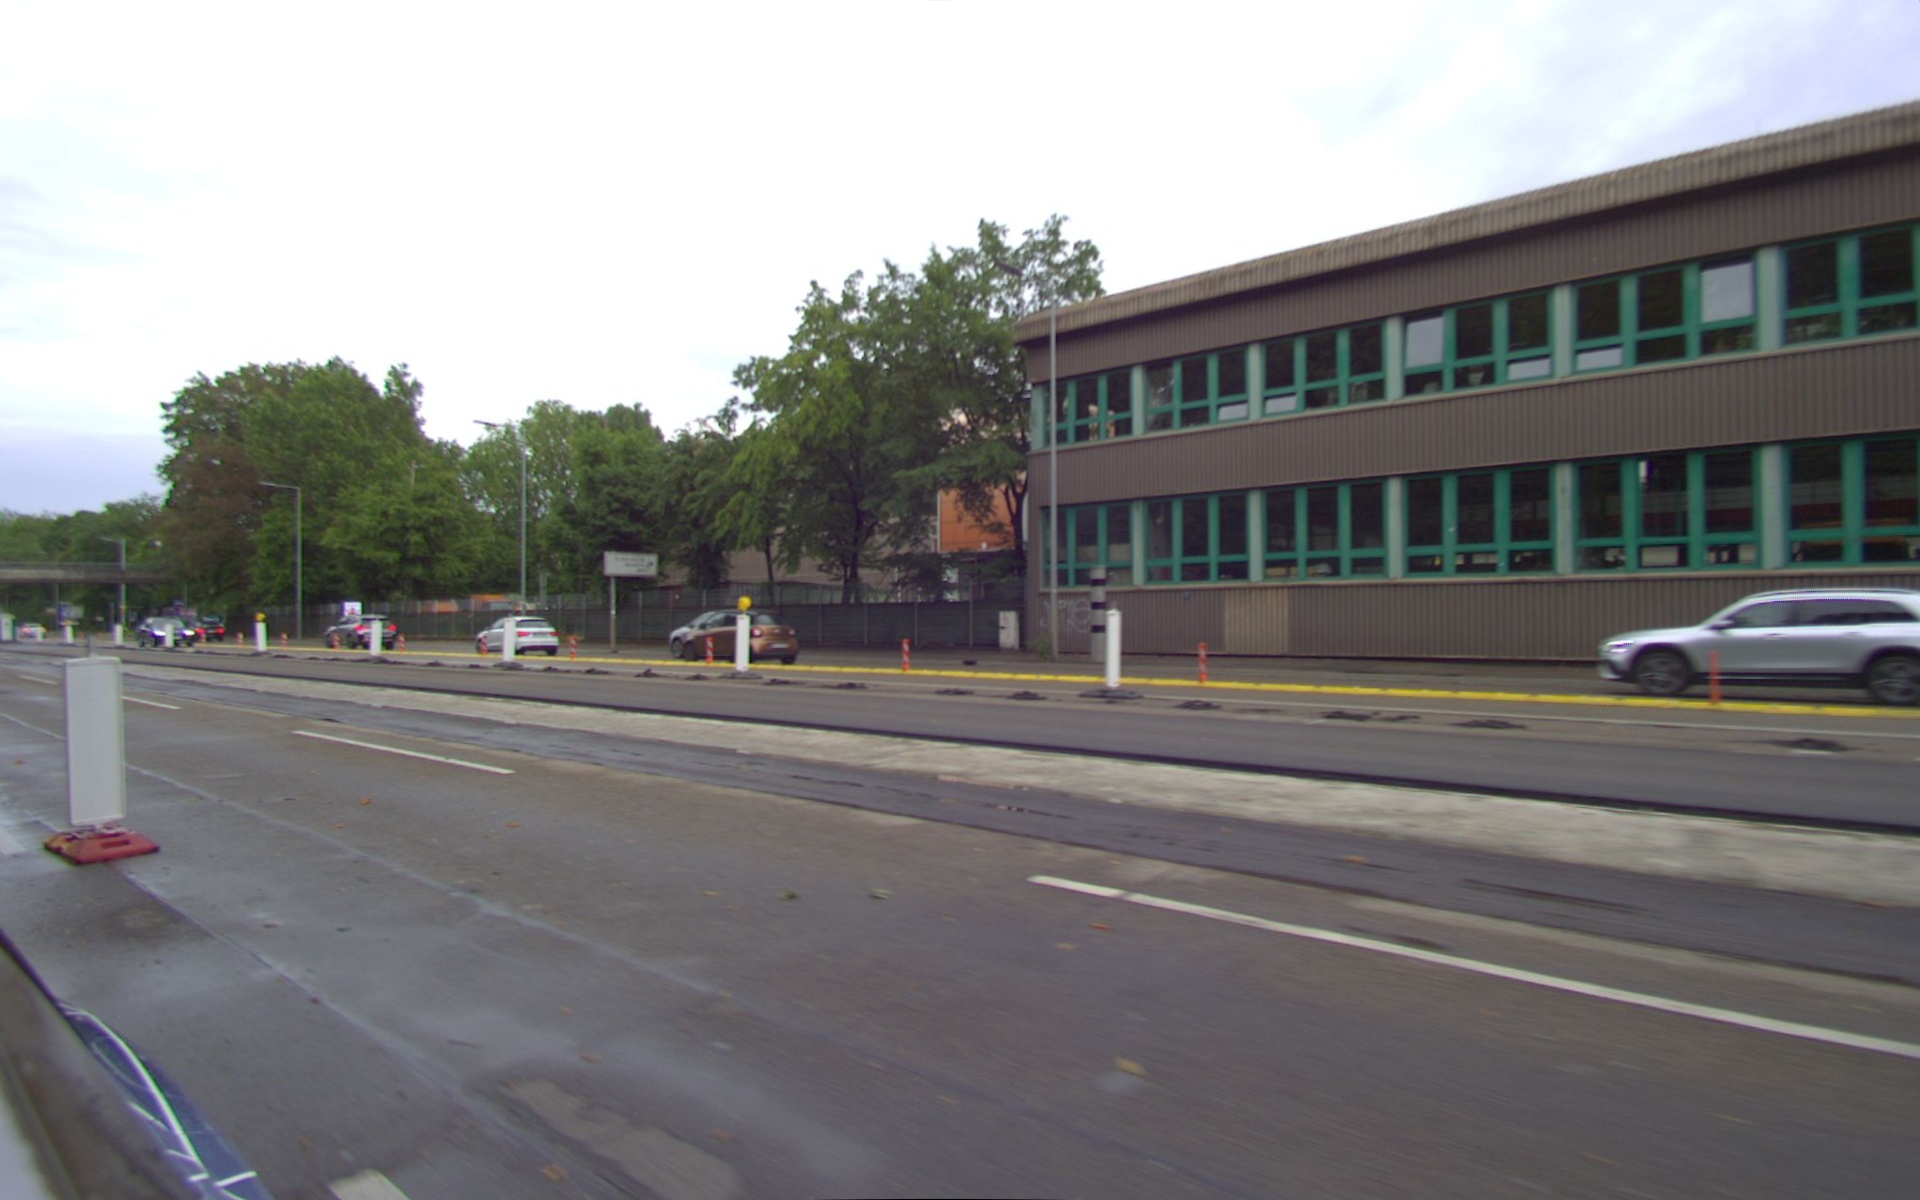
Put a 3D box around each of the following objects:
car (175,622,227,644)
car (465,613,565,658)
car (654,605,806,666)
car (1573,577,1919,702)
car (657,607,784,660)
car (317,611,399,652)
[{"bbox_3d":[-55.411,2.409,73.867,4.761,1.465,2.025,-1,0,41],"label":"car"},{"bbox_3d":[-16.402,1.261,37.241,3.989,1.546,1.785,-1,0,40],"label":"car"},{"bbox_3d":[-6.468,0.938,28.161,4.515,1.513,1.874,-1,0,42],"label":"car"},{"bbox_3d":[12.565,0.548,15.783,4.930,1.719,1.919,-1,0,39],"label":"car"},{"bbox_3d":[-7.936,1.048,33.324,4.176,1.598,1.973,-1,0,40],"label":"car"},{"bbox_3d":[-28.057,1.425,47.103,4.673,1.781,1.968,-1,0,42],"label":"car"}]
